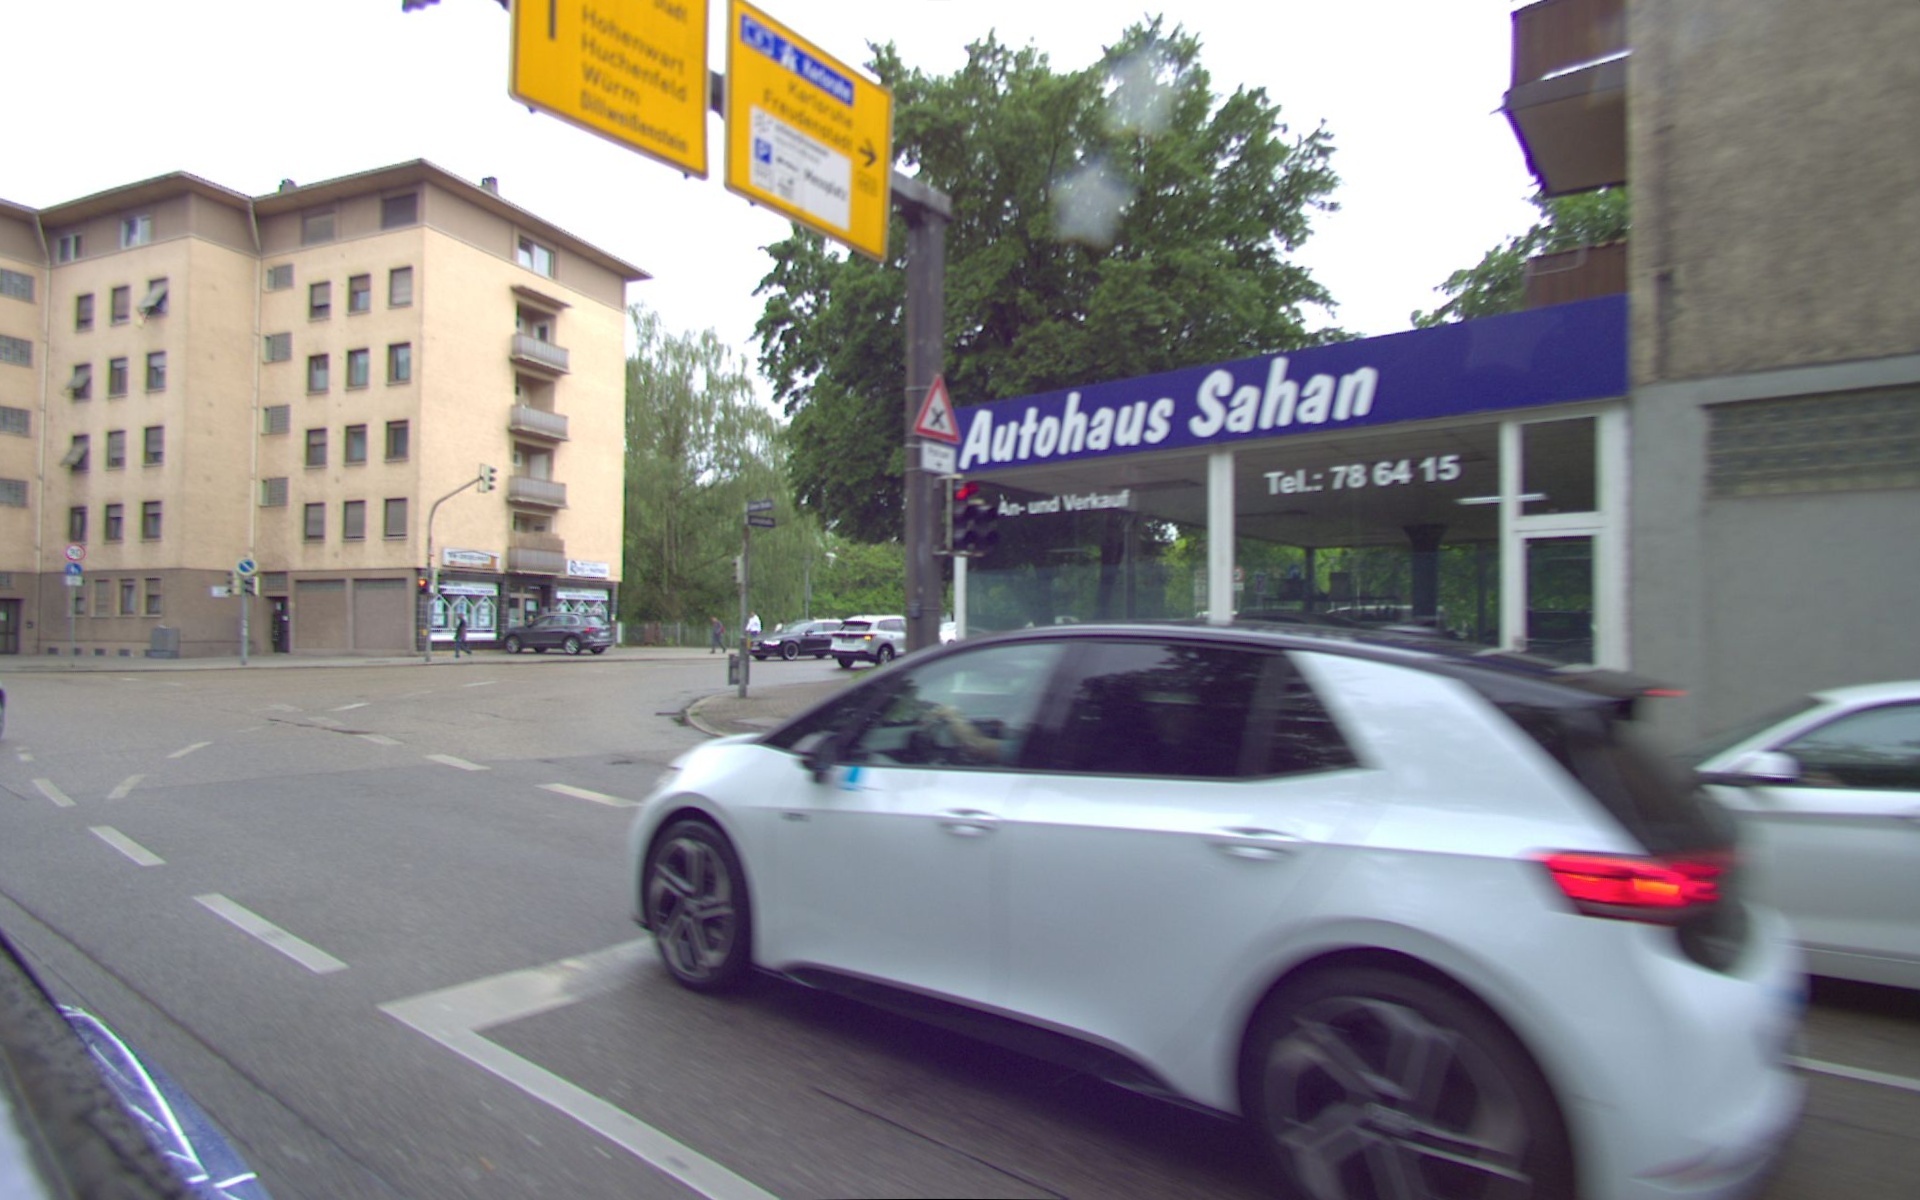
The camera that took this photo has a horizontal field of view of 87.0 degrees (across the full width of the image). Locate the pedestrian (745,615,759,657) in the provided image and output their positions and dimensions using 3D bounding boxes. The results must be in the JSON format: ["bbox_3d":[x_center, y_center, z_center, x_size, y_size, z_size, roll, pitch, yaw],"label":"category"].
[{"bbox_3d":[-9.169,1.584,44.581,0.500,1.817,0.499,1,-2,-24],"label":"pedestrian"}]

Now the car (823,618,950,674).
[{"bbox_3d":[-2.313,1.489,33.150,1.839,1.684,4.422,-1,-3,33],"label":"car"}]

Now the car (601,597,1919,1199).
[{"bbox_3d":[0.651,0.830,3.727,4.212,1.507,1.767,-1,-4,40],"label":"car"}]

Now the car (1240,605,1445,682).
[{"bbox_3d":[10.014,1.120,26.666,4.733,1.844,1.959,-1,-3,35],"label":"car"}]

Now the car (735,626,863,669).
[{"bbox_3d":[-5.869,1.705,37.261,1.999,1.474,4.445,-1,-2,40],"label":"car"}]

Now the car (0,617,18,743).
[{"bbox_3d":[-11.712,0.933,10.638,1.723,1.530,4.012,0,-1,-29],"label":"car"}]

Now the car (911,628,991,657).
[{"bbox_3d":[-0.399,2.001,48.241,1.652,1.319,3.945,-1,-2,41],"label":"car"}]

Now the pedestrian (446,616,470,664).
[{"bbox_3d":[-17.789,1.411,35.838,0.573,1.651,0.619,3,-3,-45],"label":"pedestrian"}]

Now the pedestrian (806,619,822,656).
[{"bbox_3d":[-6.568,1.684,45.476,0.692,1.659,0.661,0,-2,-7],"label":"pedestrian"}]

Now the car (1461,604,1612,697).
[{"bbox_3d":[9.909,0.822,17.282,1.628,1.402,3.615,-1,-2,40],"label":"car"}]

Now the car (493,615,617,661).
[{"bbox_3d":[-15.771,1.457,39.463,4.242,1.660,1.751,1,-1,15],"label":"car"}]

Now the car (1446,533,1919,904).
[{"bbox_3d":[4.514,0.508,4.486,3.996,1.467,1.641,-1,-4,39],"label":"car"}]

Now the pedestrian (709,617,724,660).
[{"bbox_3d":[-10.332,1.650,42.967,0.550,1.817,0.477,0,-2,-10],"label":"pedestrian"}]

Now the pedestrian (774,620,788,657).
[{"bbox_3d":[-7.857,1.689,44.486,0.458,1.595,0.440,0,-2,15],"label":"pedestrian"}]

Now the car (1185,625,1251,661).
[{"bbox_3d":[15.573,2.623,60.863,2.217,2.017,4.316,-2,-4,40],"label":"car"}]
